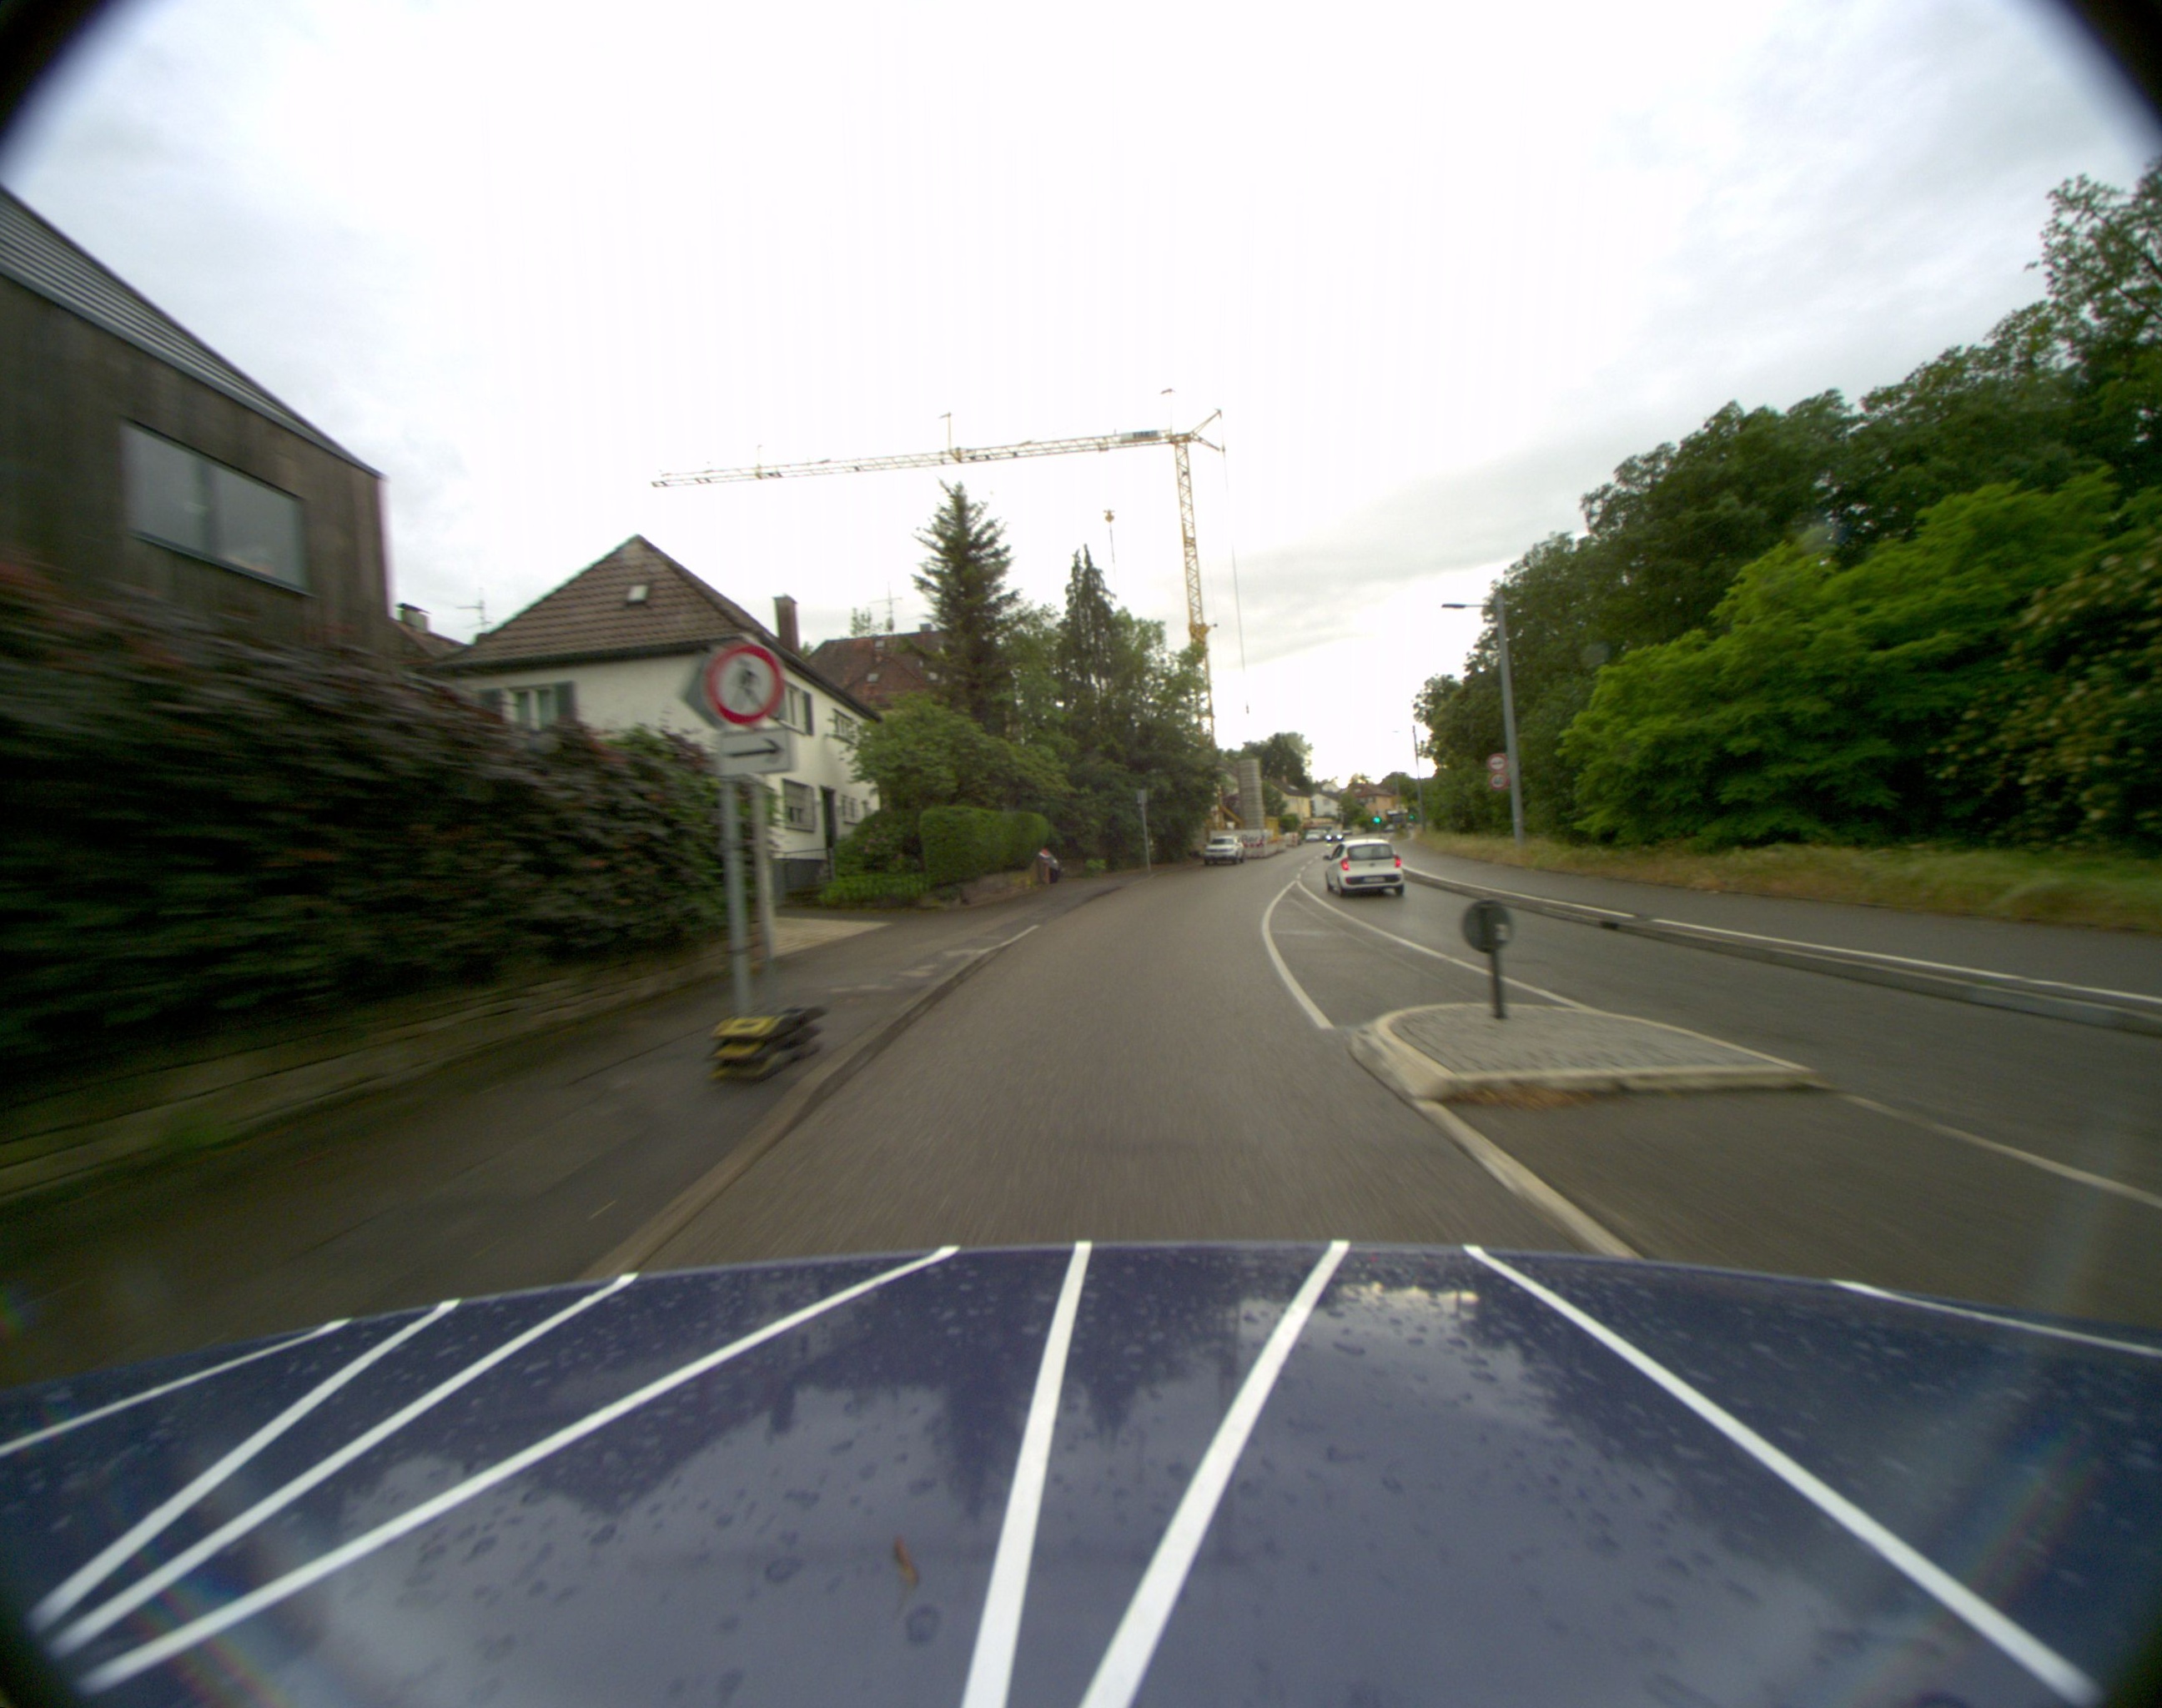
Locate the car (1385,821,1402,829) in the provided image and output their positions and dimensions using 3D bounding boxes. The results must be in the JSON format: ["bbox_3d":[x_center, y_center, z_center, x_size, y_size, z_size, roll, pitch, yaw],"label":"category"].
[{"bbox_3d":[60.558,-5.587,147.163,1.870,1.482,4.007,0,3,40],"label":"car"}]

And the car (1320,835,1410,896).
[{"bbox_3d":[7.794,0.250,21.165,1.635,1.446,3.804,-2,2,10],"label":"car"}]

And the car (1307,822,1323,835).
[{"bbox_3d":[29.880,-3.283,97.040,1.734,1.482,4.004,-1,2,20],"label":"car"}]

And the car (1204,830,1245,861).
[{"bbox_3d":[8.273,-0.524,43.480,1.829,1.586,4.004,-1,2,17],"label":"car"}]

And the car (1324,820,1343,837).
[{"bbox_3d":[28.623,-2.877,86.057,1.996,1.707,4.005,-2,0,19],"label":"car"}]

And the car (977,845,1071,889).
[{"bbox_3d":[-2.312,0.533,31.163,3.483,1.404,1.428,-6,1,11],"label":"car"}]
